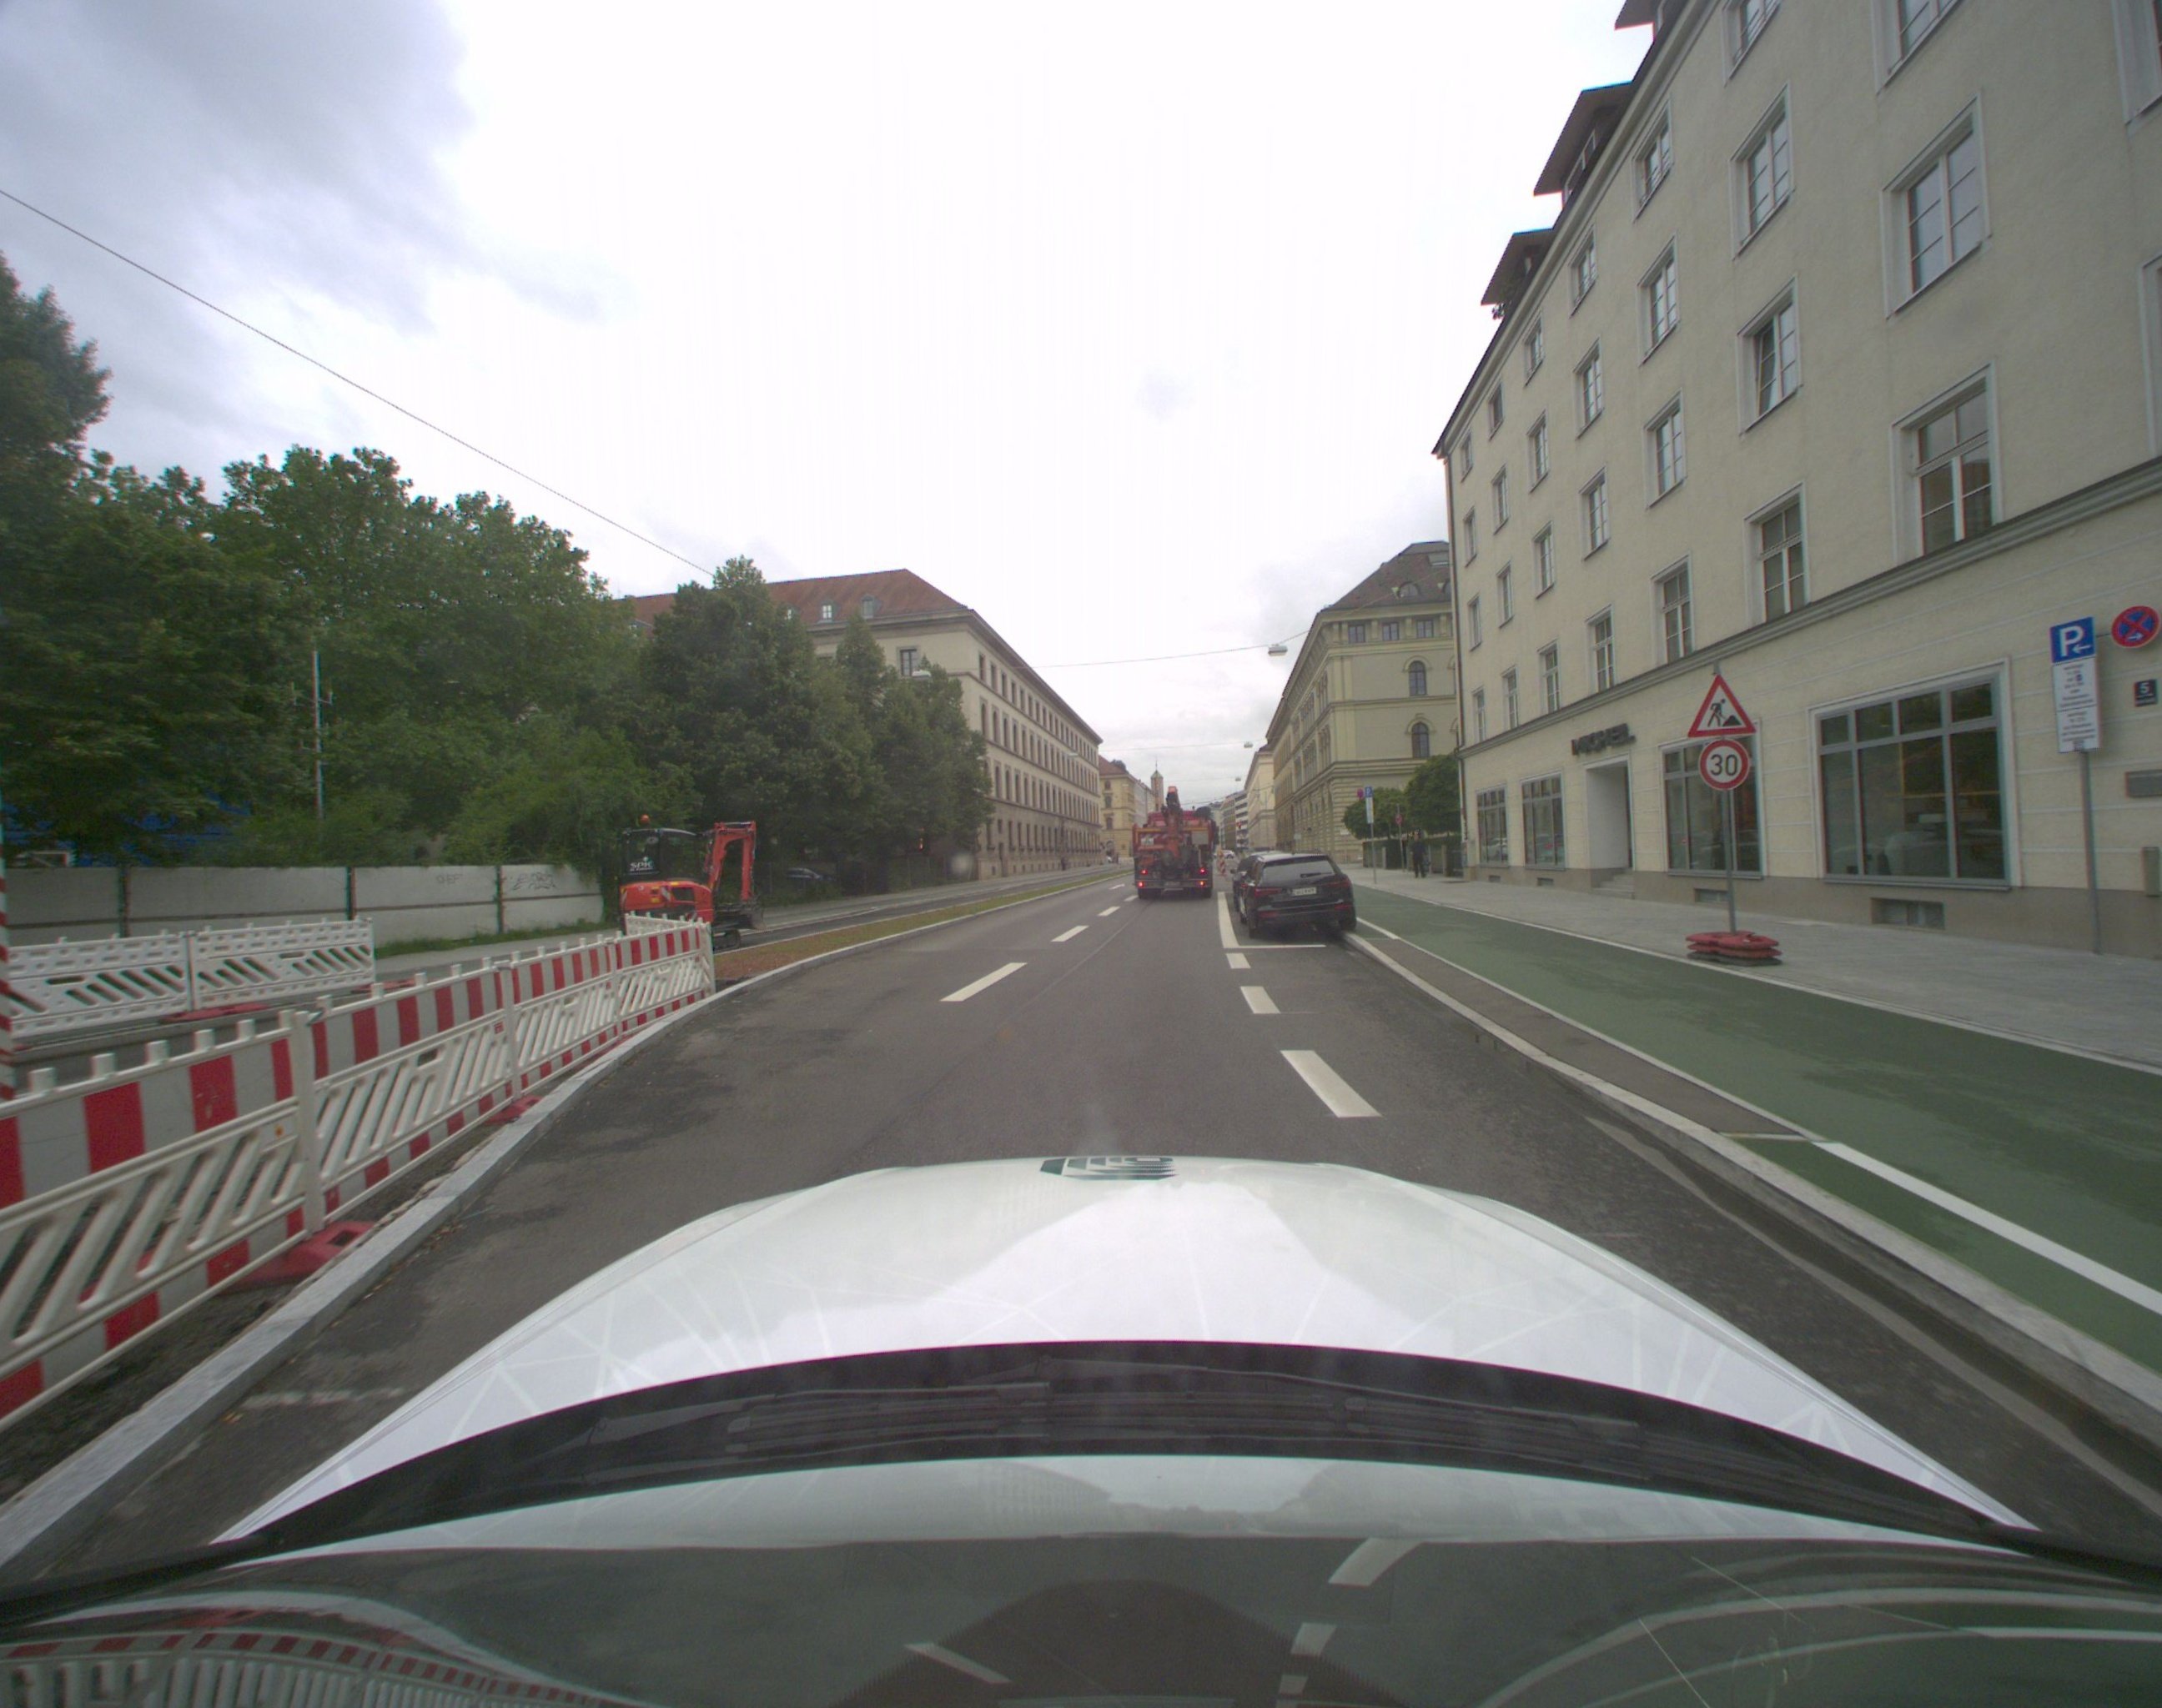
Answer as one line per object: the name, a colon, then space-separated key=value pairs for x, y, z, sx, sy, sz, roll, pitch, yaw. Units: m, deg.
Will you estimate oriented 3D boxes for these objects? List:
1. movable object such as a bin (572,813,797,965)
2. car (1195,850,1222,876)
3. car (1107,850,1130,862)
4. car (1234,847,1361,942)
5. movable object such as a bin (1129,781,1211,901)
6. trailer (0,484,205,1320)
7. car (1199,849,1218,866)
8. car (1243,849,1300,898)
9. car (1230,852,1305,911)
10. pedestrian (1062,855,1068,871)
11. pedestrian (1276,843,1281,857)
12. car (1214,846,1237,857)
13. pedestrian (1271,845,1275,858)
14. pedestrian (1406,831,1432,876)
movable object such as a bin: x=-7.951 y=0.626 z=16.975 sx=1.984 sy=2.641 sz=4.672 roll=-3 pitch=0 yaw=5
car: x=8.260 y=0.559 z=52.646 sx=1.600 sy=1.495 sz=3.433 roll=-3 pitch=0 yaw=9
car: x=6.958 y=0.391 z=151.479 sx=3.961 sy=1.947 sz=2.006 roll=-3 pitch=0 yaw=11
car: x=3.972 y=0.652 z=15.654 sx=1.791 sy=1.480 sz=4.698 roll=-3 pitch=0 yaw=8
movable object such as a bin: x=3.153 y=-0.392 z=27.927 sx=2.409 sy=3.611 sz=5.865 roll=-2 pitch=0 yaw=8
trailer: x=-5.562 y=0.220 z=0.119 sx=2.216 sy=3.243 sz=7.529 roll=-3 pitch=0 yaw=5
car: x=11.615 y=0.302 z=73.958 sx=1.600 sy=1.495 sz=3.433 roll=-3 pitch=0 yaw=9
car: x=6.377 y=0.608 z=27.505 sx=1.600 sy=1.495 sz=3.433 roll=-3 pitch=0 yaw=9
car: x=4.943 y=0.677 z=21.995 sx=1.670 sy=1.386 sz=4.438 roll=-1 pitch=0 yaw=9
pedestrian: x=-1.862 y=1.024 z=93.700 sx=0.585 sy=1.831 sz=0.500 roll=-2 pitch=0 yaw=8
pedestrian: x=25.434 y=-0.488 z=104.852 sx=0.443 sy=1.836 sz=0.558 roll=-3 pitch=0 yaw=10
car: x=26.153 y=-0.465 z=147.595 sx=3.961 sy=1.819 sz=1.902 roll=-3 pitch=0 yaw=11
pedestrian: x=24.770 y=-0.374 z=105.010 sx=0.335 sy=1.672 sz=0.441 roll=-3 pitch=0 yaw=10
pedestrian: x=14.130 y=-0.013 z=34.064 sx=0.785 sy=1.836 sz=0.779 roll=-3 pitch=0 yaw=10
